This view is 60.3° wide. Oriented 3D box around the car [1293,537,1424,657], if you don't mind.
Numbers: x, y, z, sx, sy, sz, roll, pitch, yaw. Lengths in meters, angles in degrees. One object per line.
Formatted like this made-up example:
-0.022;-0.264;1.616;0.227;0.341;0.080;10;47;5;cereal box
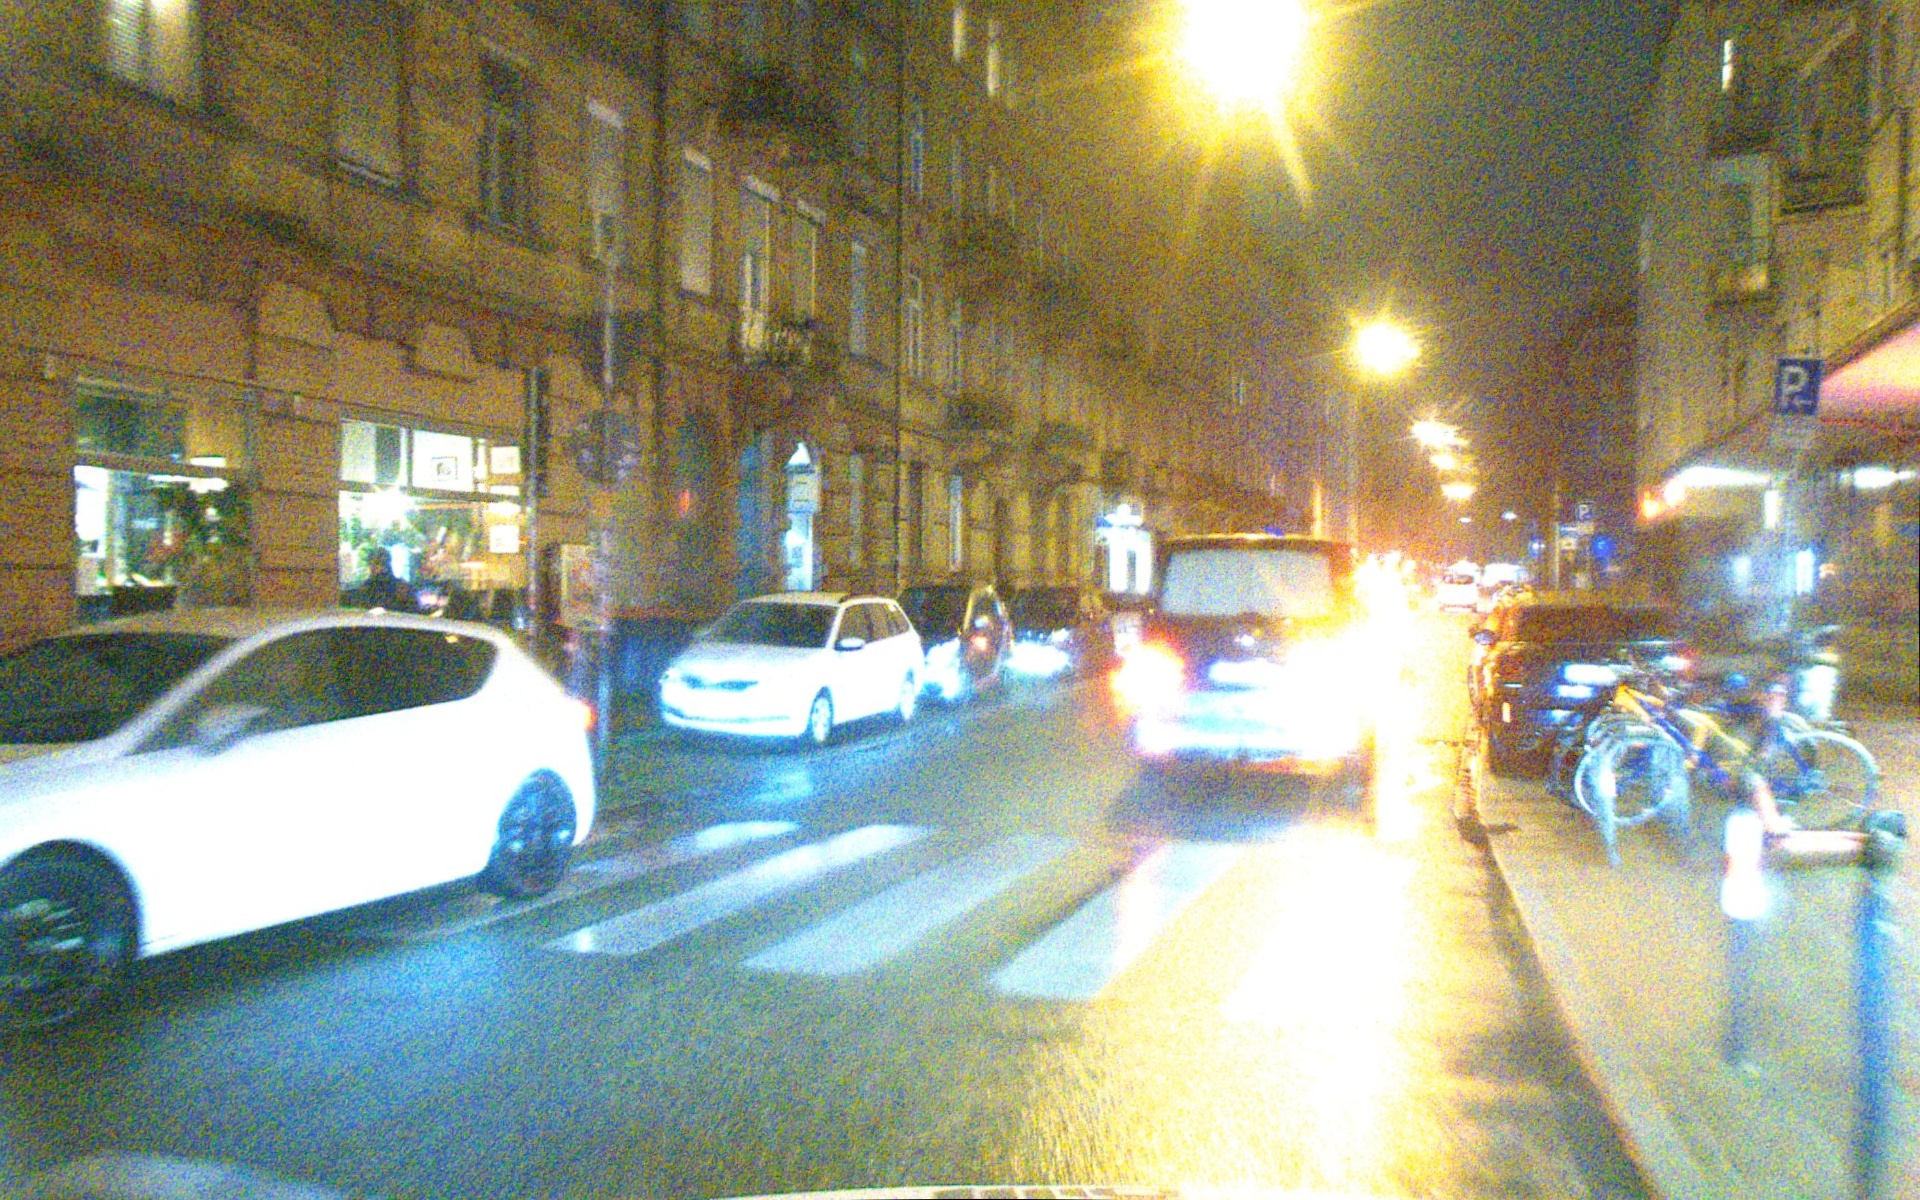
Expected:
7.203;-0.131;29.710;2.077;1.955;4.830;1;2;15;car

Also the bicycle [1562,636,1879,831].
4.716;0.814;10.347;1.745;1.144;0.436;-1;1;17;bicycle

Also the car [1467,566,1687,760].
5.833;0.506;16.034;1.716;1.593;4.157;1;1;17;car

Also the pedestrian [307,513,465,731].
-4.962;0.172;14.345;0.788;1.796;1.015;2;1;24;pedestrian

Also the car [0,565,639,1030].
-3.178;0.617;6.952;1.531;1.452;4.068;-1;1;24;car

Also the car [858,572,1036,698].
-0.116;0.413;22.171;1.553;1.536;2.789;1;2;19;car

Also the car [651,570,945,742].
-1.577;0.485;17.589;1.553;1.488;4.026;3;2;18;car

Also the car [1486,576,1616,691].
9.264;0.466;26.179;1.716;1.636;3.992;1;1;17;car

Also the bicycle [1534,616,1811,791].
5.090;0.749;11.907;1.725;1.144;0.436;-4;0;17;bicycle

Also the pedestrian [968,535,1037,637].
0.816;-0.268;31.761;1.010;1.897;0.977;2;1;21;pedestrian

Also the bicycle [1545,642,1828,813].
4.924;0.848;11.298;1.724;1.098;0.436;0;1;17;bicycle

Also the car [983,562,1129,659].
1.650;0.123;27.413;1.553;1.474;3.505;1;2;19;car

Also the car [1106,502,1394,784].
2.670;0.250;14.363;2.077;2.026;4.605;0;1;14;car

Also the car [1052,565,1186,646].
3.174;0.051;32.280;1.655;1.425;4.319;1;2;19;car

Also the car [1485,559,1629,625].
19.174;-0.232;53.241;3.904;2.049;2.000;-1;-1;2;car
